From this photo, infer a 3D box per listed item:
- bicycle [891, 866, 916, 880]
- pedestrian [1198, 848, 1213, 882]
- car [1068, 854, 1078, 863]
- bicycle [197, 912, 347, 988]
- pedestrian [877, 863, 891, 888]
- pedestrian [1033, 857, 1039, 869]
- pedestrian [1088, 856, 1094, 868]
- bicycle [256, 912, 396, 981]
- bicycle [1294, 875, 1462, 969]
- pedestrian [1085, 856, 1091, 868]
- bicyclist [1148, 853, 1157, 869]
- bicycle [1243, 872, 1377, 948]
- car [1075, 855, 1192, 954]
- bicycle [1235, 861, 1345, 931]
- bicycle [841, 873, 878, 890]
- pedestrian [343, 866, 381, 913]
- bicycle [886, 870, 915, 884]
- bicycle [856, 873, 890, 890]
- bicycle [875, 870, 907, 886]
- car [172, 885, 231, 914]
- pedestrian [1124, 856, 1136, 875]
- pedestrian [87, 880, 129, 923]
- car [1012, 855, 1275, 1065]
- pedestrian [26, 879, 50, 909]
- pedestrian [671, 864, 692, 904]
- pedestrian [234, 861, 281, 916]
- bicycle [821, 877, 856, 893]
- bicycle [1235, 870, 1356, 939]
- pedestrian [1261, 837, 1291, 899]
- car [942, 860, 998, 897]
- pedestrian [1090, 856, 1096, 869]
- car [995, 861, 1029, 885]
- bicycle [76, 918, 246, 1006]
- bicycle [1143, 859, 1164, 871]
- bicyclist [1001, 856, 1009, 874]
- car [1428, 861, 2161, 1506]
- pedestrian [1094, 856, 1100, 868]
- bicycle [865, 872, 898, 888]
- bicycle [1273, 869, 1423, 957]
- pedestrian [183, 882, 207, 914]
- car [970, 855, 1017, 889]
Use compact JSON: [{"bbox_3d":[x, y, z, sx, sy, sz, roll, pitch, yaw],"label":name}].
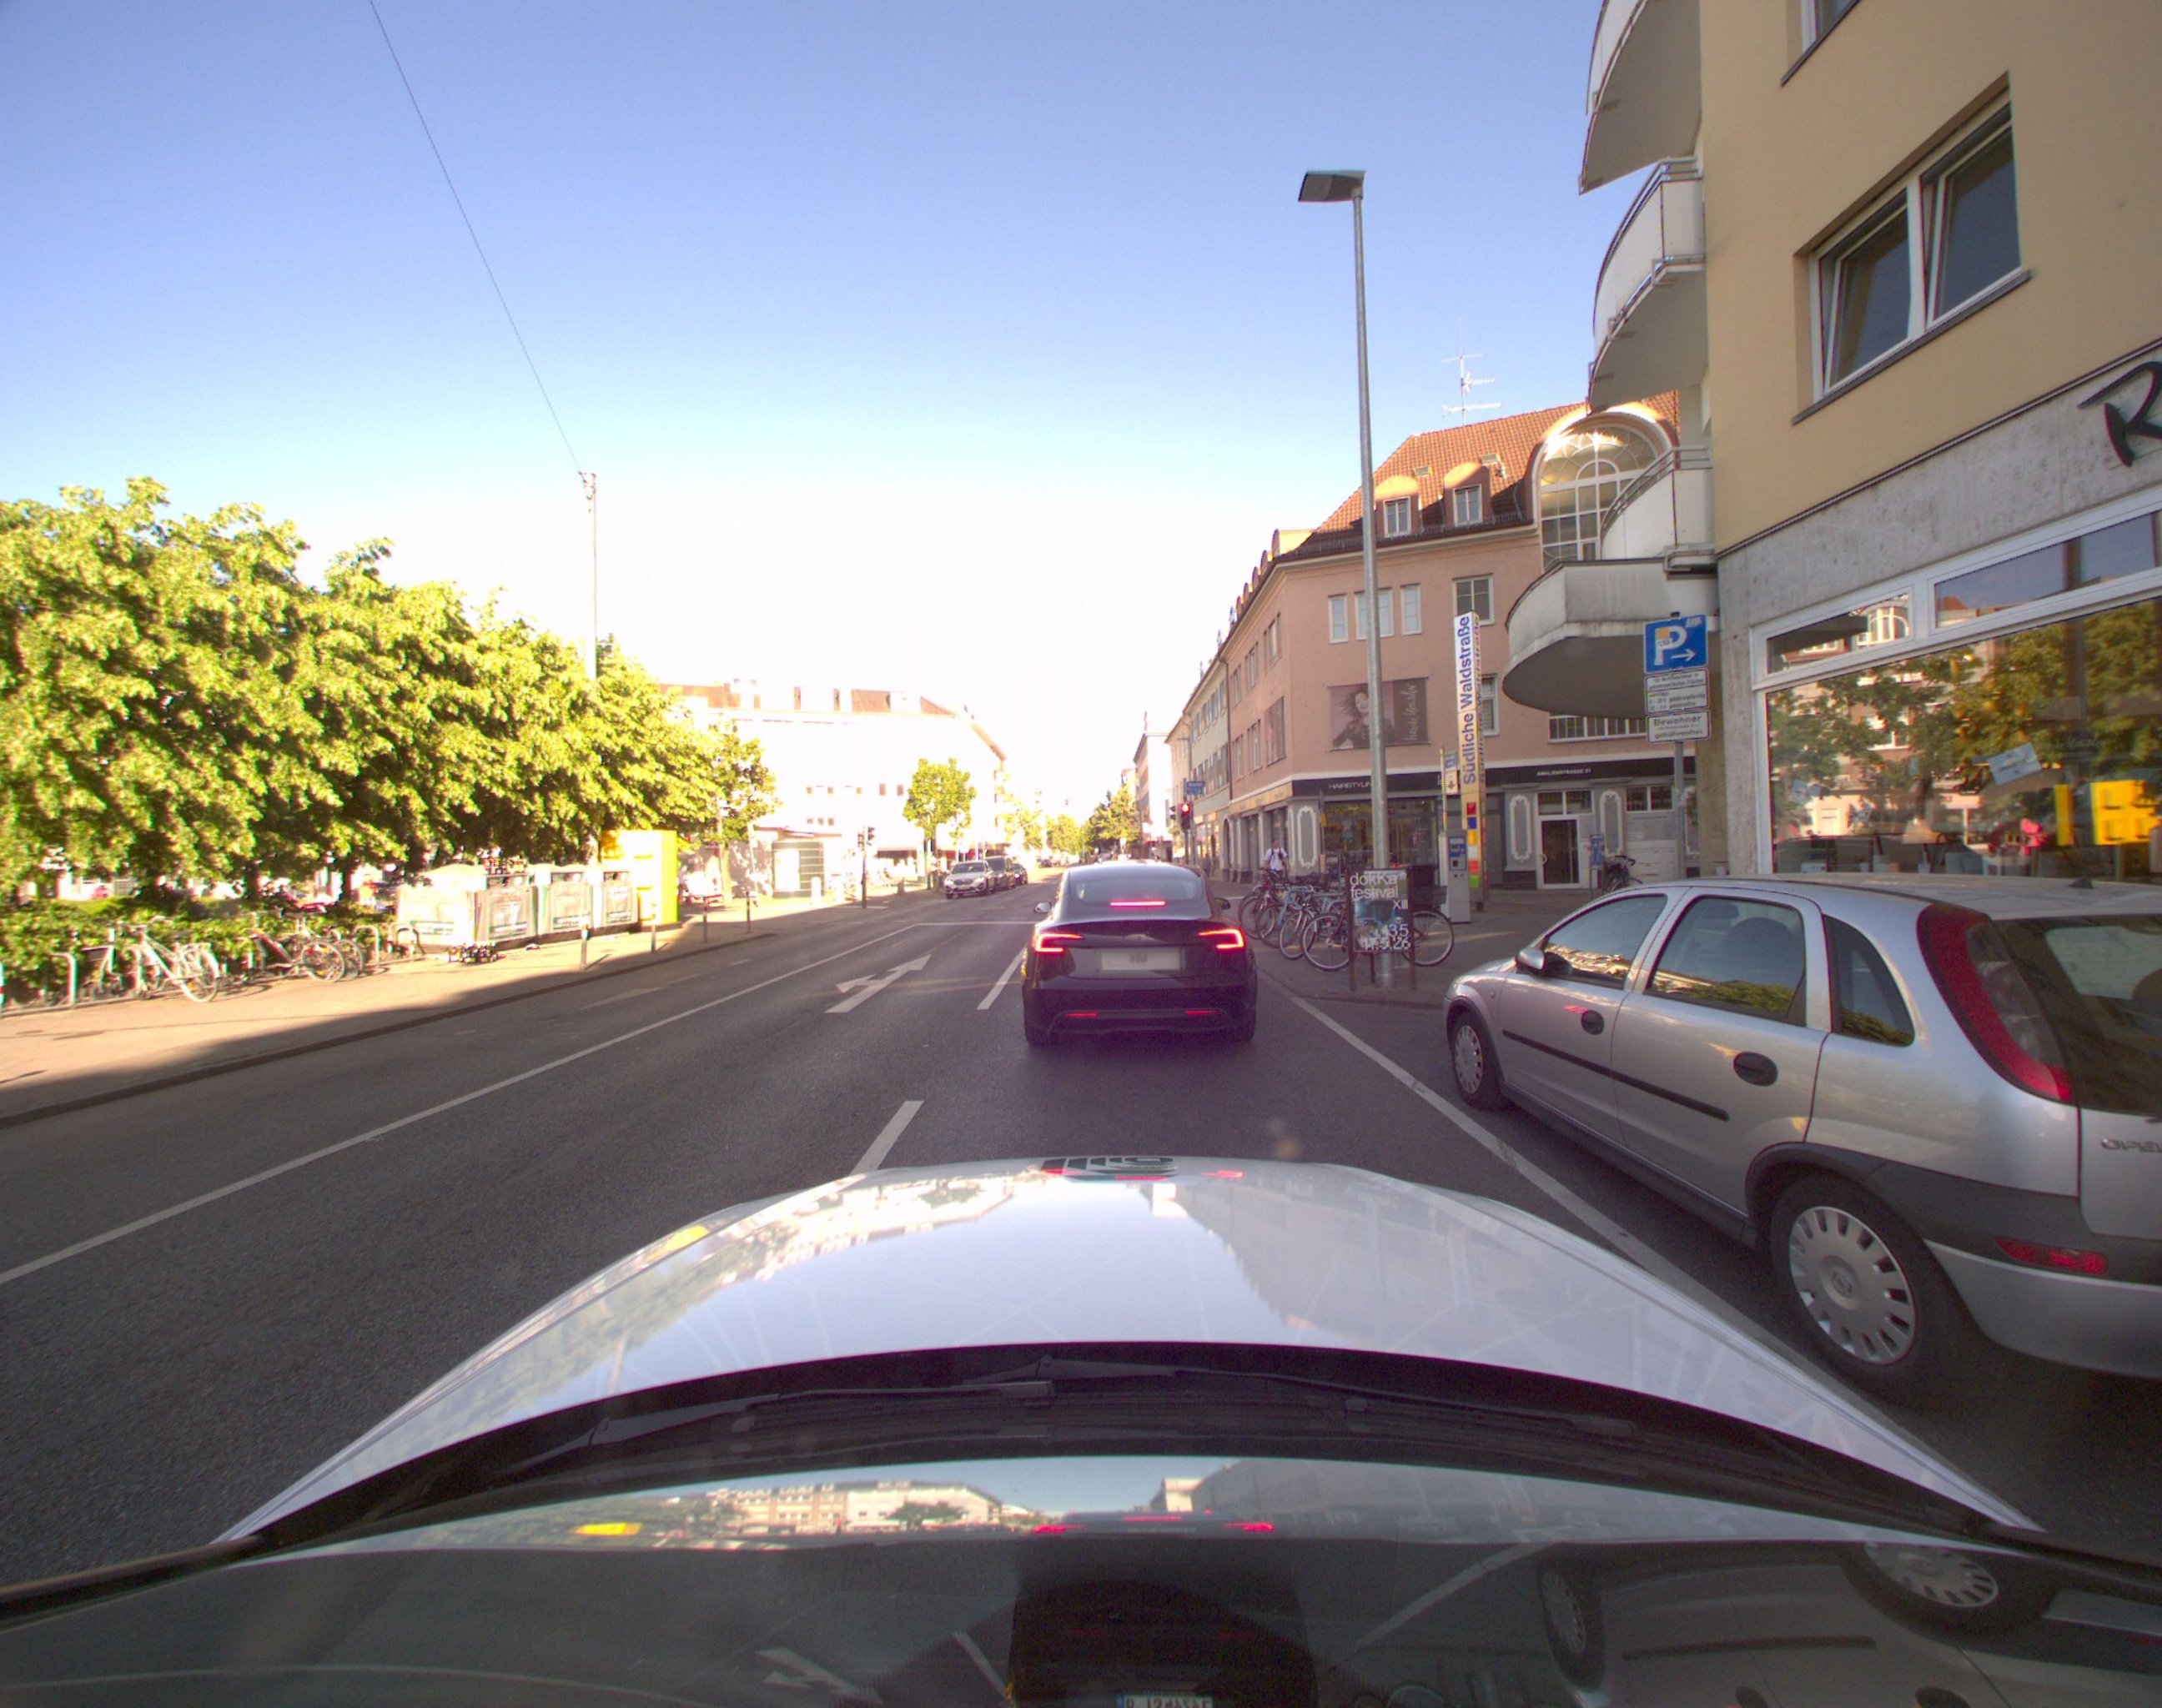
[{"bbox_3d":[-17.113,1.818,78.491,2.373,1.296,0.509,0,-1,-25],"label":"bicycle"},{"bbox_3d":[6.530,0.574,42.768,0.704,1.742,0.540,-1,0,1],"label":"pedestrian"},{"bbox_3d":[-1.880,0.973,187.490,1.986,2.013,4.001,-1,0,2],"label":"car"},{"bbox_3d":[-11.558,1.348,11.645,1.913,1.003,0.518,-1,-1,11],"label":"bicycle"},{"bbox_3d":[-16.193,1.763,67.021,1.060,2.014,1.049,0,-1,-18],"label":"pedestrian"},{"bbox_3d":[-6.333,1.236,114.257,0.845,1.695,0.718,-1,0,-1],"label":"pedestrian"},{"bbox_3d":[1.100,0.916,93.330,0.524,1.422,0.475,0,-1,-28],"label":"pedestrian"},{"bbox_3d":[-11.321,1.369,12.218,1.888,0.955,0.518,-1,-1,11],"label":"bicycle"},{"bbox_3d":[3.618,0.835,10.017,1.862,1.038,0.354,-3,-1,8],"label":"bicycle"},{"bbox_3d":[0.814,0.949,93.985,0.474,1.417,0.517,0,-1,-29],"label":"pedestrian"},{"bbox_3d":[6.234,0.577,71.202,0.670,1.395,0.460,0,-1,-14],"label":"bicyclist"},{"bbox_3d":[3.491,0.849,12.498,1.864,1.038,0.534,-3,-1,5],"label":"bicycle"},{"bbox_3d":[0.795,0.747,13.980,1.712,1.425,3.757,-1,0,0],"label":"car"},{"bbox_3d":[3.777,0.758,14.805,1.818,1.169,0.507,-3,-1,7],"label":"bicycle"},{"bbox_3d":[-12.407,1.524,45.667,1.857,0.934,0.606,-1,-1,0],"label":"bicycle"},{"bbox_3d":[-26.674,1.307,30.227,0.754,1.698,0.793,-1,0,25],"label":"pedestrian"},{"bbox_3d":[-12.190,1.559,55.024,1.857,0.934,0.606,-1,0,0],"label":"bicycle"},{"bbox_3d":[-12.202,1.614,47.790,1.857,0.934,0.606,0,-1,0],"label":"bicycle"},{"bbox_3d":[-12.269,1.539,52.575,1.857,0.934,0.606,-1,0,0],"label":"bicycle"},{"bbox_3d":[-46.472,2.360,43.019,3.526,1.386,1.703,-1,0,36],"label":"car"},{"bbox_3d":[4.130,0.983,68.606,0.756,1.631,0.951,0,-1,-16],"label":"pedestrian"},{"bbox_3d":[-47.392,2.317,39.656,1.145,2.013,1.040,-2,0,26],"label":"pedestrian"},{"bbox_3d":[0.501,0.759,7.728,1.815,1.442,4.001,-1,-1,2],"label":"car"},{"bbox_3d":[-77.751,2.945,60.708,0.891,2.171,0.882,-1,-1,26],"label":"pedestrian"},{"bbox_3d":[-17.547,1.312,35.800,0.472,1.716,0.713,-1,-1,11],"label":"pedestrian"},{"bbox_3d":[-31.063,1.284,30.717,0.890,2.013,0.893,-1,0,15],"label":"pedestrian"},{"bbox_3d":[-12.839,1.632,43.096,1.640,0.792,0.606,0,-1,-3],"label":"bicycle"},{"bbox_3d":[3.581,0.839,13.688,1.863,1.038,0.548,-3,-1,7],"label":"bicycle"},{"bbox_3d":[5.657,0.390,23.656,0.747,1.765,0.838,0,-1,6],"label":"pedestrian"},{"bbox_3d":[-4.885,1.046,36.449,1.782,1.460,3.759,-4,-1,2],"label":"car"},{"bbox_3d":[1.441,0.998,94.336,0.524,1.422,0.475,0,-1,-28],"label":"pedestrian"},{"bbox_3d":[-4.297,1.178,51.446,1.709,1.446,3.846,0,-1,2],"label":"car"},{"bbox_3d":[-11.623,1.337,10.294,1.919,1.015,0.518,-1,-1,12],"label":"bicycle"},{"bbox_3d":[6.317,0.950,71.222,1.787,1.007,0.469,0,-1,-15],"label":"bicycle"},{"bbox_3d":[-6.357,0.907,67.953,0.525,1.503,0.473,0,-1,-22],"label":"bicyclist"},{"bbox_3d":[2.951,0.741,3.521,1.540,1.390,3.479,-1,-1,3],"label":"car"},{"bbox_3d":[1.830,0.941,93.772,0.524,1.422,0.475,0,-1,-28],"label":"pedestrian"},{"bbox_3d":[-12.326,1.606,50.268,1.857,0.934,0.606,0,-1,0],"label":"bicycle"},{"bbox_3d":[3.651,0.804,11.211,1.864,1.087,0.415,-3,-1,5],"label":"bicycle"},{"bbox_3d":[-48.845,2.433,44.896,0.842,1.717,0.761,-2,-1,35],"label":"pedestrian"},{"bbox_3d":[-4.503,0.888,42.459,1.780,1.646,4.404,-1,0,2],"label":"car"}]
